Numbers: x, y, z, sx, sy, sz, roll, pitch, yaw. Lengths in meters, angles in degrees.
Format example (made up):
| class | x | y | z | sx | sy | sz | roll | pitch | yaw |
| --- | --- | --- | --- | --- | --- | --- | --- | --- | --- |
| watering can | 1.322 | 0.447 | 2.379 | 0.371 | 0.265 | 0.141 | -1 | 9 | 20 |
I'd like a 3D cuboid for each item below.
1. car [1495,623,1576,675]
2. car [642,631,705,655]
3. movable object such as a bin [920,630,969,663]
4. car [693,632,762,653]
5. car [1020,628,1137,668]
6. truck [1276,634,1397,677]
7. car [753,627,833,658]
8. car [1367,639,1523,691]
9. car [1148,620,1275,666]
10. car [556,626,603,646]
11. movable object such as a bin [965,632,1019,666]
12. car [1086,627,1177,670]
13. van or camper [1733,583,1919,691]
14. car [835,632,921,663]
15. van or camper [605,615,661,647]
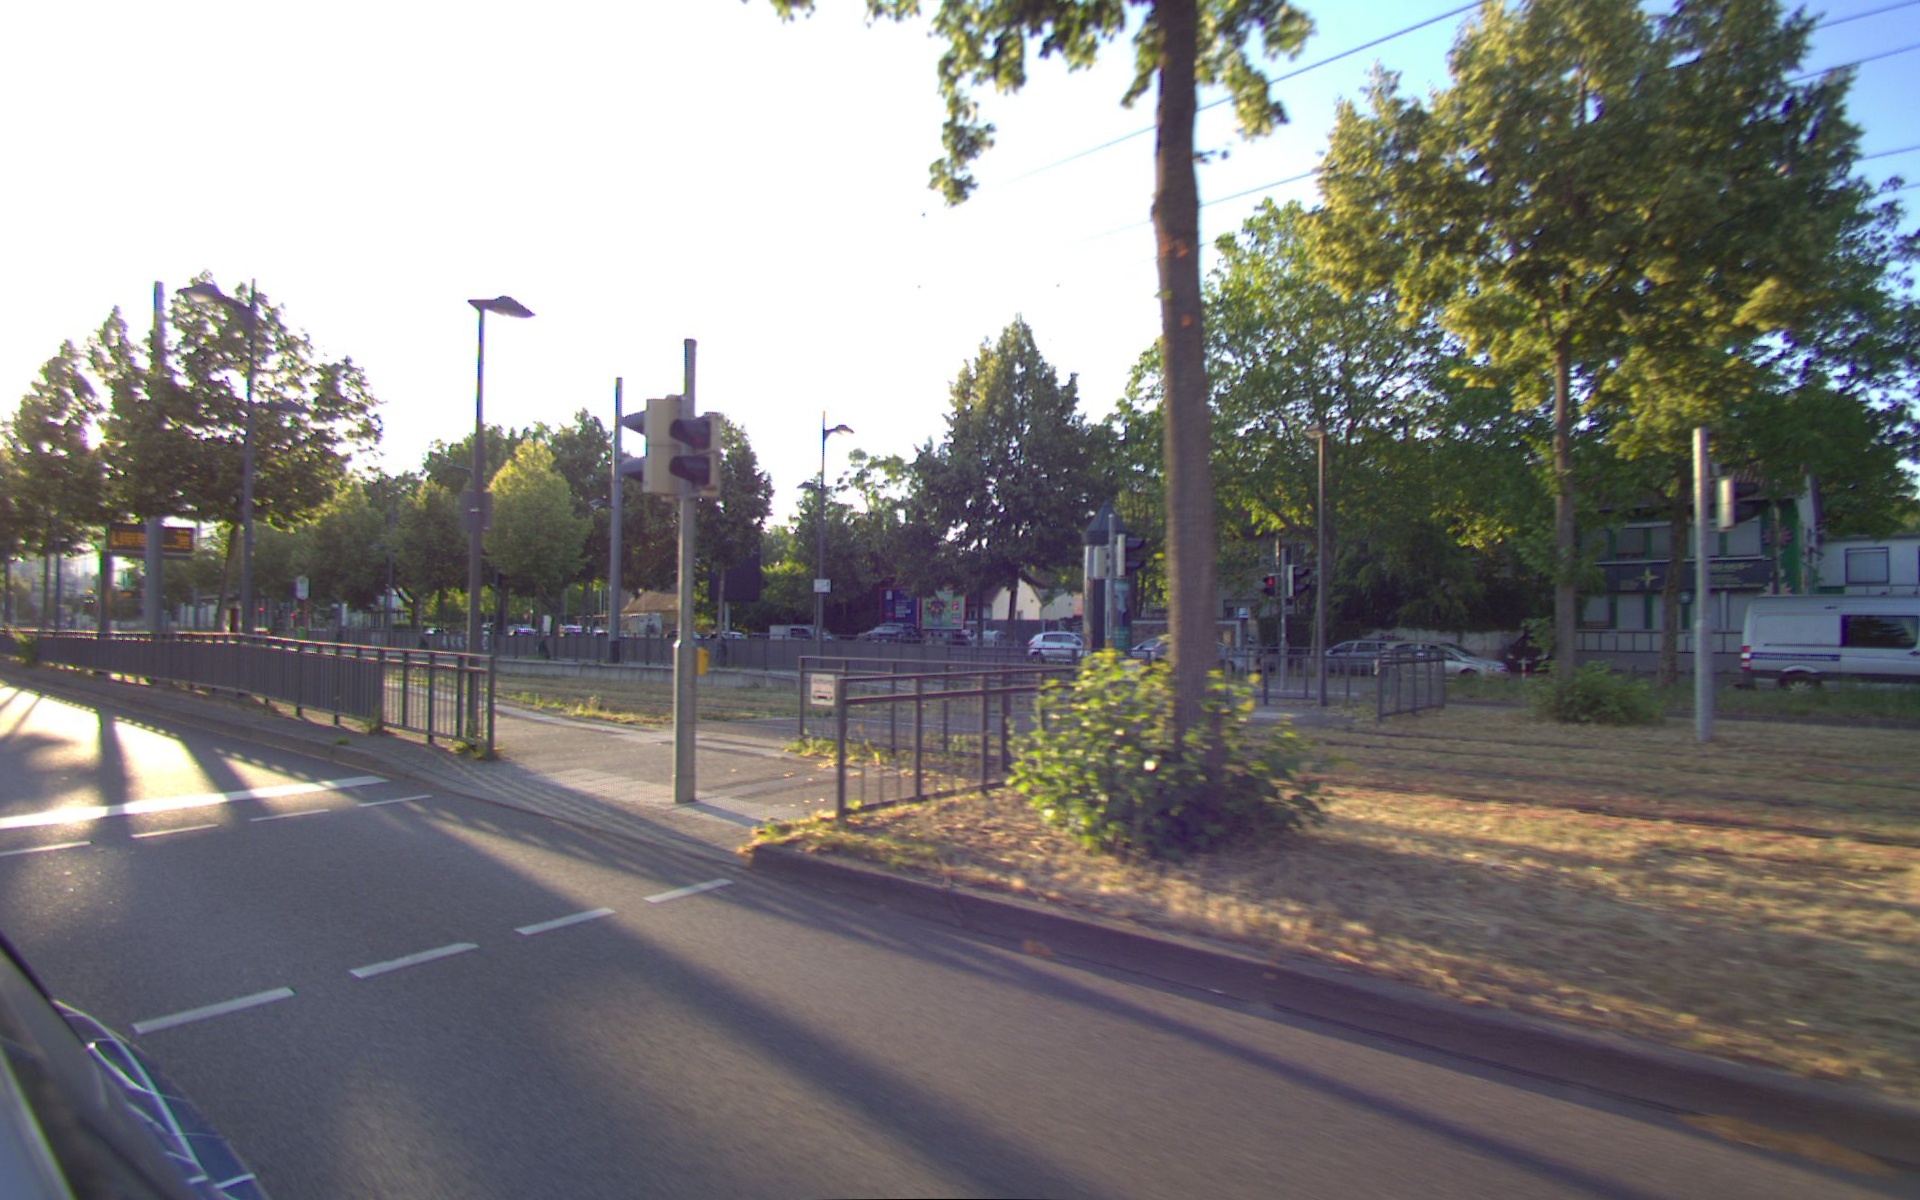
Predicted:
| class | x | y | z | sx | sy | sz | roll | pitch | yaw |
| --- | --- | --- | --- | --- | --- | --- | --- | --- | --- |
| car | 23.552 | 1.977 | 41.378 | 2.000 | 2.029 | 3.943 | -2 | -3 | 43 |
| car | -17.721 | 2.651 | 62.503 | 4.001 | 1.418 | 1.971 | -2 | -3 | 44 |
| movable object such as a bin | -0.696 | 2.068 | 44.984 | 1.701 | 1.422 | 1.393 | -2 | -2 | 42 |
| car | -13.525 | 2.445 | 58.762 | 4.089 | 1.210 | 1.972 | -2 | -2 | 43 |
| car | 4.674 | 1.859 | 40.287 | 4.298 | 1.512 | 1.972 | -2 | -2 | 43 |
| truck | 15.633 | 2.264 | 42.130 | 4.295 | 1.703 | 1.971 | -2 | -3 | 44 |
| car | -8.905 | 2.223 | 53.672 | 4.296 | 1.598 | 1.972 | -2 | -2 | 43 |
| car | 15.470 | 2.023 | 32.388 | 4.098 | 1.512 | 1.972 | -1 | -2 | 43 |
| car | 8.915 | 1.494 | 36.046 | 4.053 | 1.543 | 1.790 | -2 | -2 | 43 |
| car | -29.685 | 2.803 | 78.921 | 1.970 | 1.542 | 4.003 | 2 | -3 | -44 |
| movable object such as a bin | 1.354 | 2.060 | 42.886 | 1.724 | 1.383 | 1.536 | -2 | -2 | 42 |
| car | 8.350 | 2.320 | 49.376 | 1.970 | 2.029 | 4.002 | 2 | -3 | -45 |
| van or camper | 21.665 | 0.853 | 23.369 | 2.258 | 2.383 | 5.786 | 2 | -2 | -44 |
| car | -3.996 | 2.269 | 48.961 | 4.000 | 1.459 | 1.972 | -2 | -2 | 43 |
| van or camper | -27.893 | 2.637 | 86.332 | 2.363 | 2.583 | 5.638 | 2 | -3 | -43 |
